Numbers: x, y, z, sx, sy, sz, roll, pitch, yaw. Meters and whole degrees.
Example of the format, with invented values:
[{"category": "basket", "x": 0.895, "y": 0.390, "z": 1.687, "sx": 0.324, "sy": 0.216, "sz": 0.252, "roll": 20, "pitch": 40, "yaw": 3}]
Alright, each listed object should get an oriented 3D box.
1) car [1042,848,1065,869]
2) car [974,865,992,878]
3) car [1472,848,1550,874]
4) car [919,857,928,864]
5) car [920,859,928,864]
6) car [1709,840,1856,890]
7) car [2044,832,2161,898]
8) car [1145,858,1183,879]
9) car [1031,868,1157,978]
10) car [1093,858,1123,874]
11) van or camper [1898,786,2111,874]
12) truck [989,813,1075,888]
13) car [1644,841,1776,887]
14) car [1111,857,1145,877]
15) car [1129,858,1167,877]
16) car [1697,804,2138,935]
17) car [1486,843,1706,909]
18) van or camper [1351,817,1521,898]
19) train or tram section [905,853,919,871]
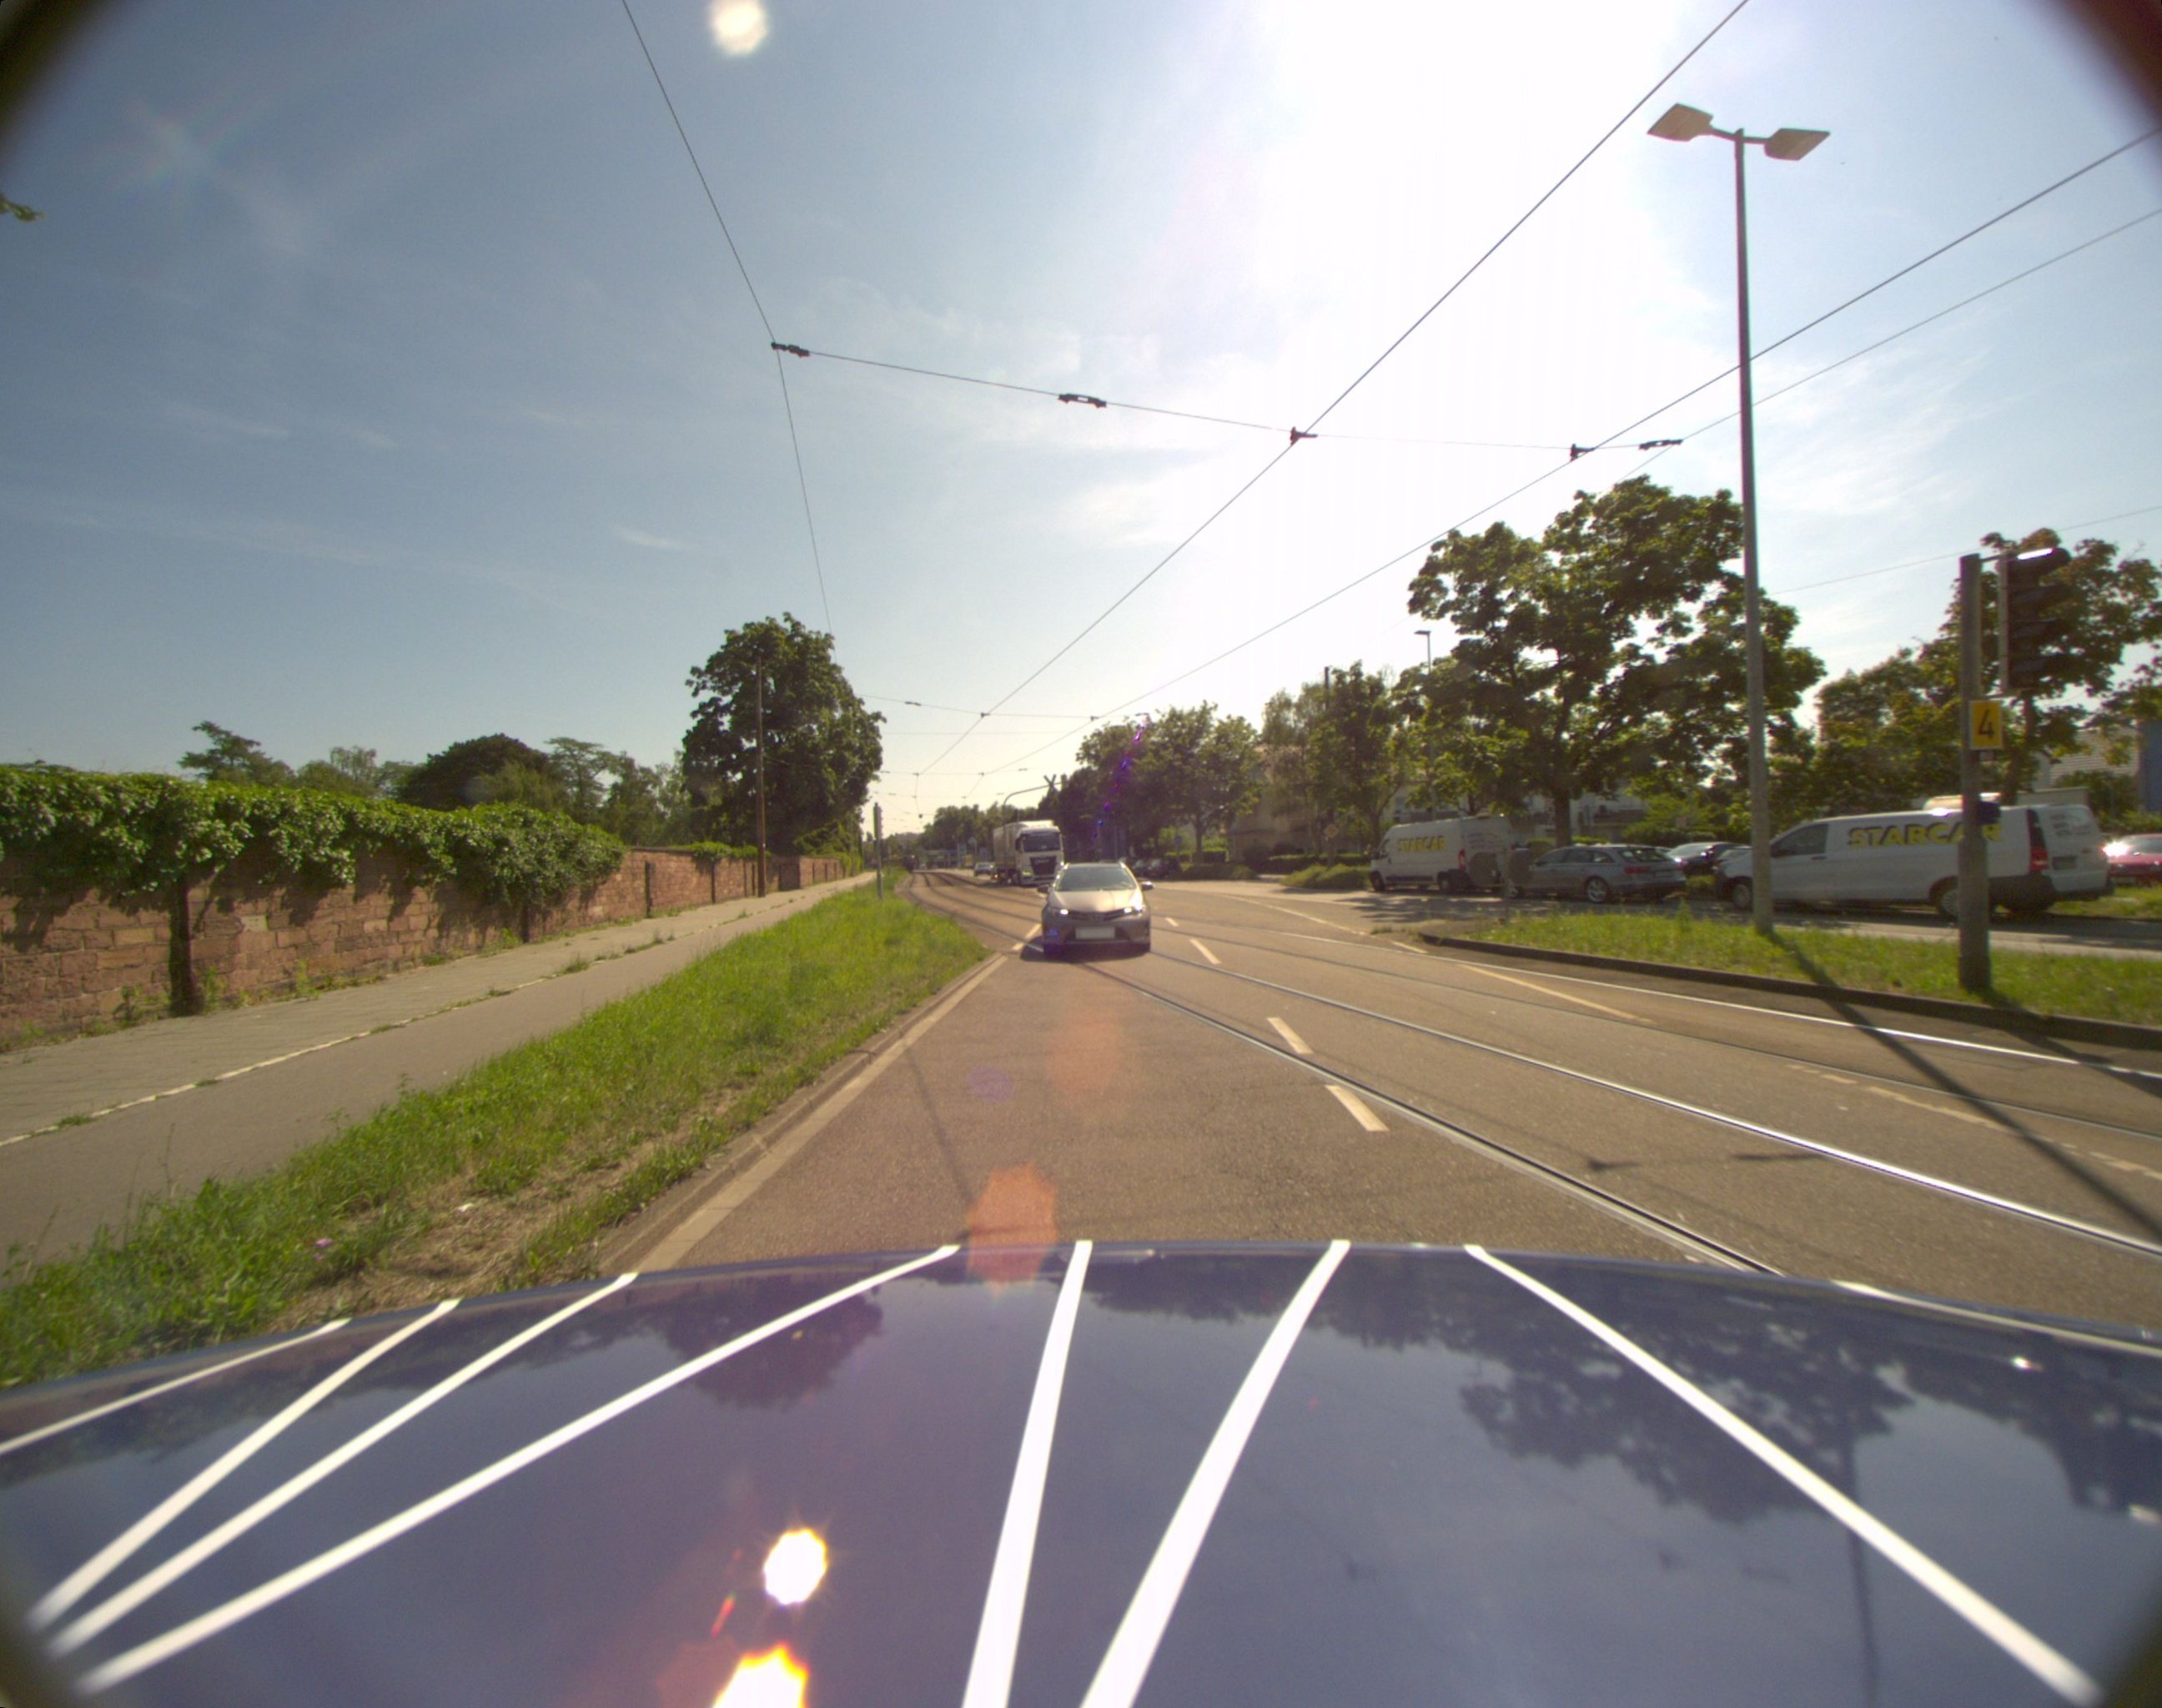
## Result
[{"category": "car", "x": -3.766, "y": 0.616, "z": 102.897, "sx": 2.018, "sy": 2.636, "sz": 6.080, "roll": -5, "pitch": 1, "yaw": -11}, {"category": "car", "x": -10.702, "y": 1.884, "z": 83.015, "sx": 1.702, "sy": 1.248, "sz": 3.996, "roll": -2, "pitch": 0, "yaw": -11}, {"category": "car", "x": 27.271, "y": 0.426, "z": 48.256, "sx": 3.999, "sy": 1.516, "sz": 1.807, "roll": -1, "pitch": 0, "yaw": -5}, {"category": "car", "x": -47.056, "y": 1.974, "z": 226.414, "sx": 2.002, "sy": 2.002, "sz": 3.993, "roll": -2, "pitch": 0, "yaw": -20}, {"category": "car", "x": -46.793, "y": 2.215, "z": 226.061, "sx": 1.849, "sy": 1.586, "sz": 3.994, "roll": -2, "pitch": 0, "yaw": -16}, {"category": "car", "x": 23.522, "y": 0.350, "z": 25.515, "sx": 4.001, "sy": 1.535, "sz": 1.661, "roll": -1, "pitch": 0, "yaw": -13}, {"category": "car", "x": 24.855, "y": 0.200, "z": 17.493, "sx": 4.001, "sy": 1.401, "sz": 1.730, "roll": -2, "pitch": 0, "yaw": -12}, {"category": "car", "x": 6.018, "y": 1.024, "z": 55.711, "sx": 1.621, "sy": 1.442, "sz": 4.079, "roll": -2, "pitch": 0, "yaw": -10}, {"category": "car", "x": 0.212, "y": 1.008, "z": 12.669, "sx": 1.719, "sy": 1.439, "sz": 4.031, "roll": -2, "pitch": 0, "yaw": 1}, {"category": "car", "x": 2.581, "y": 1.184, "z": 72.593, "sx": 1.681, "sy": 1.427, "sz": 4.453, "roll": -2, "pitch": 0, "yaw": -14}, {"category": "van or camper", "x": 36.709, "y": -0.938, "z": 30.241, "sx": 6.975, "sy": 3.225, "sz": 2.579, "roll": -2, "pitch": 0, "yaw": -14}, {"category": "truck", "x": -3.572, "y": -0.176, "z": 50.013, "sx": 3.394, "sy": 4.046, "sz": 14.271, "roll": -4, "pitch": 1, "yaw": -12}, {"category": "car", "x": 23.043, "y": 0.360, "z": 27.868, "sx": 4.001, "sy": 1.535, "sz": 1.661, "roll": -1, "pitch": 0, "yaw": -13}, {"category": "car", "x": 4.031, "y": 1.115, "z": 66.012, "sx": 1.681, "sy": 1.603, "sz": 4.237, "roll": -2, "pitch": 0, "yaw": -14}, {"category": "car", "x": 5.289, "y": 1.093, "z": 60.529, "sx": 1.703, "sy": 1.387, "sz": 4.577, "roll": -2, "pitch": 0, "yaw": -12}, {"category": "car", "x": 15.296, "y": 0.246, "z": 14.470, "sx": 2.204, "sy": 1.929, "sz": 5.178, "roll": -3, "pitch": 0, "yaw": -16}, {"category": "car", "x": 13.544, "y": 0.541, "z": 20.436, "sx": 1.938, "sy": 1.446, "sz": 4.881, "roll": -3, "pitch": 0, "yaw": -12}, {"category": "van or camper", "x": 12.291, "y": 0.135, "z": 26.973, "sx": 2.265, "sy": 2.500, "sz": 6.142, "roll": -2, "pitch": 0, "yaw": -10}, {"category": "train or tram section", "x": -37.559, "y": 1.790, "z": 169.132, "sx": 2.679, "sy": 3.631, "sz": 15.290, "roll": -4, "pitch": 1, "yaw": -12}]
